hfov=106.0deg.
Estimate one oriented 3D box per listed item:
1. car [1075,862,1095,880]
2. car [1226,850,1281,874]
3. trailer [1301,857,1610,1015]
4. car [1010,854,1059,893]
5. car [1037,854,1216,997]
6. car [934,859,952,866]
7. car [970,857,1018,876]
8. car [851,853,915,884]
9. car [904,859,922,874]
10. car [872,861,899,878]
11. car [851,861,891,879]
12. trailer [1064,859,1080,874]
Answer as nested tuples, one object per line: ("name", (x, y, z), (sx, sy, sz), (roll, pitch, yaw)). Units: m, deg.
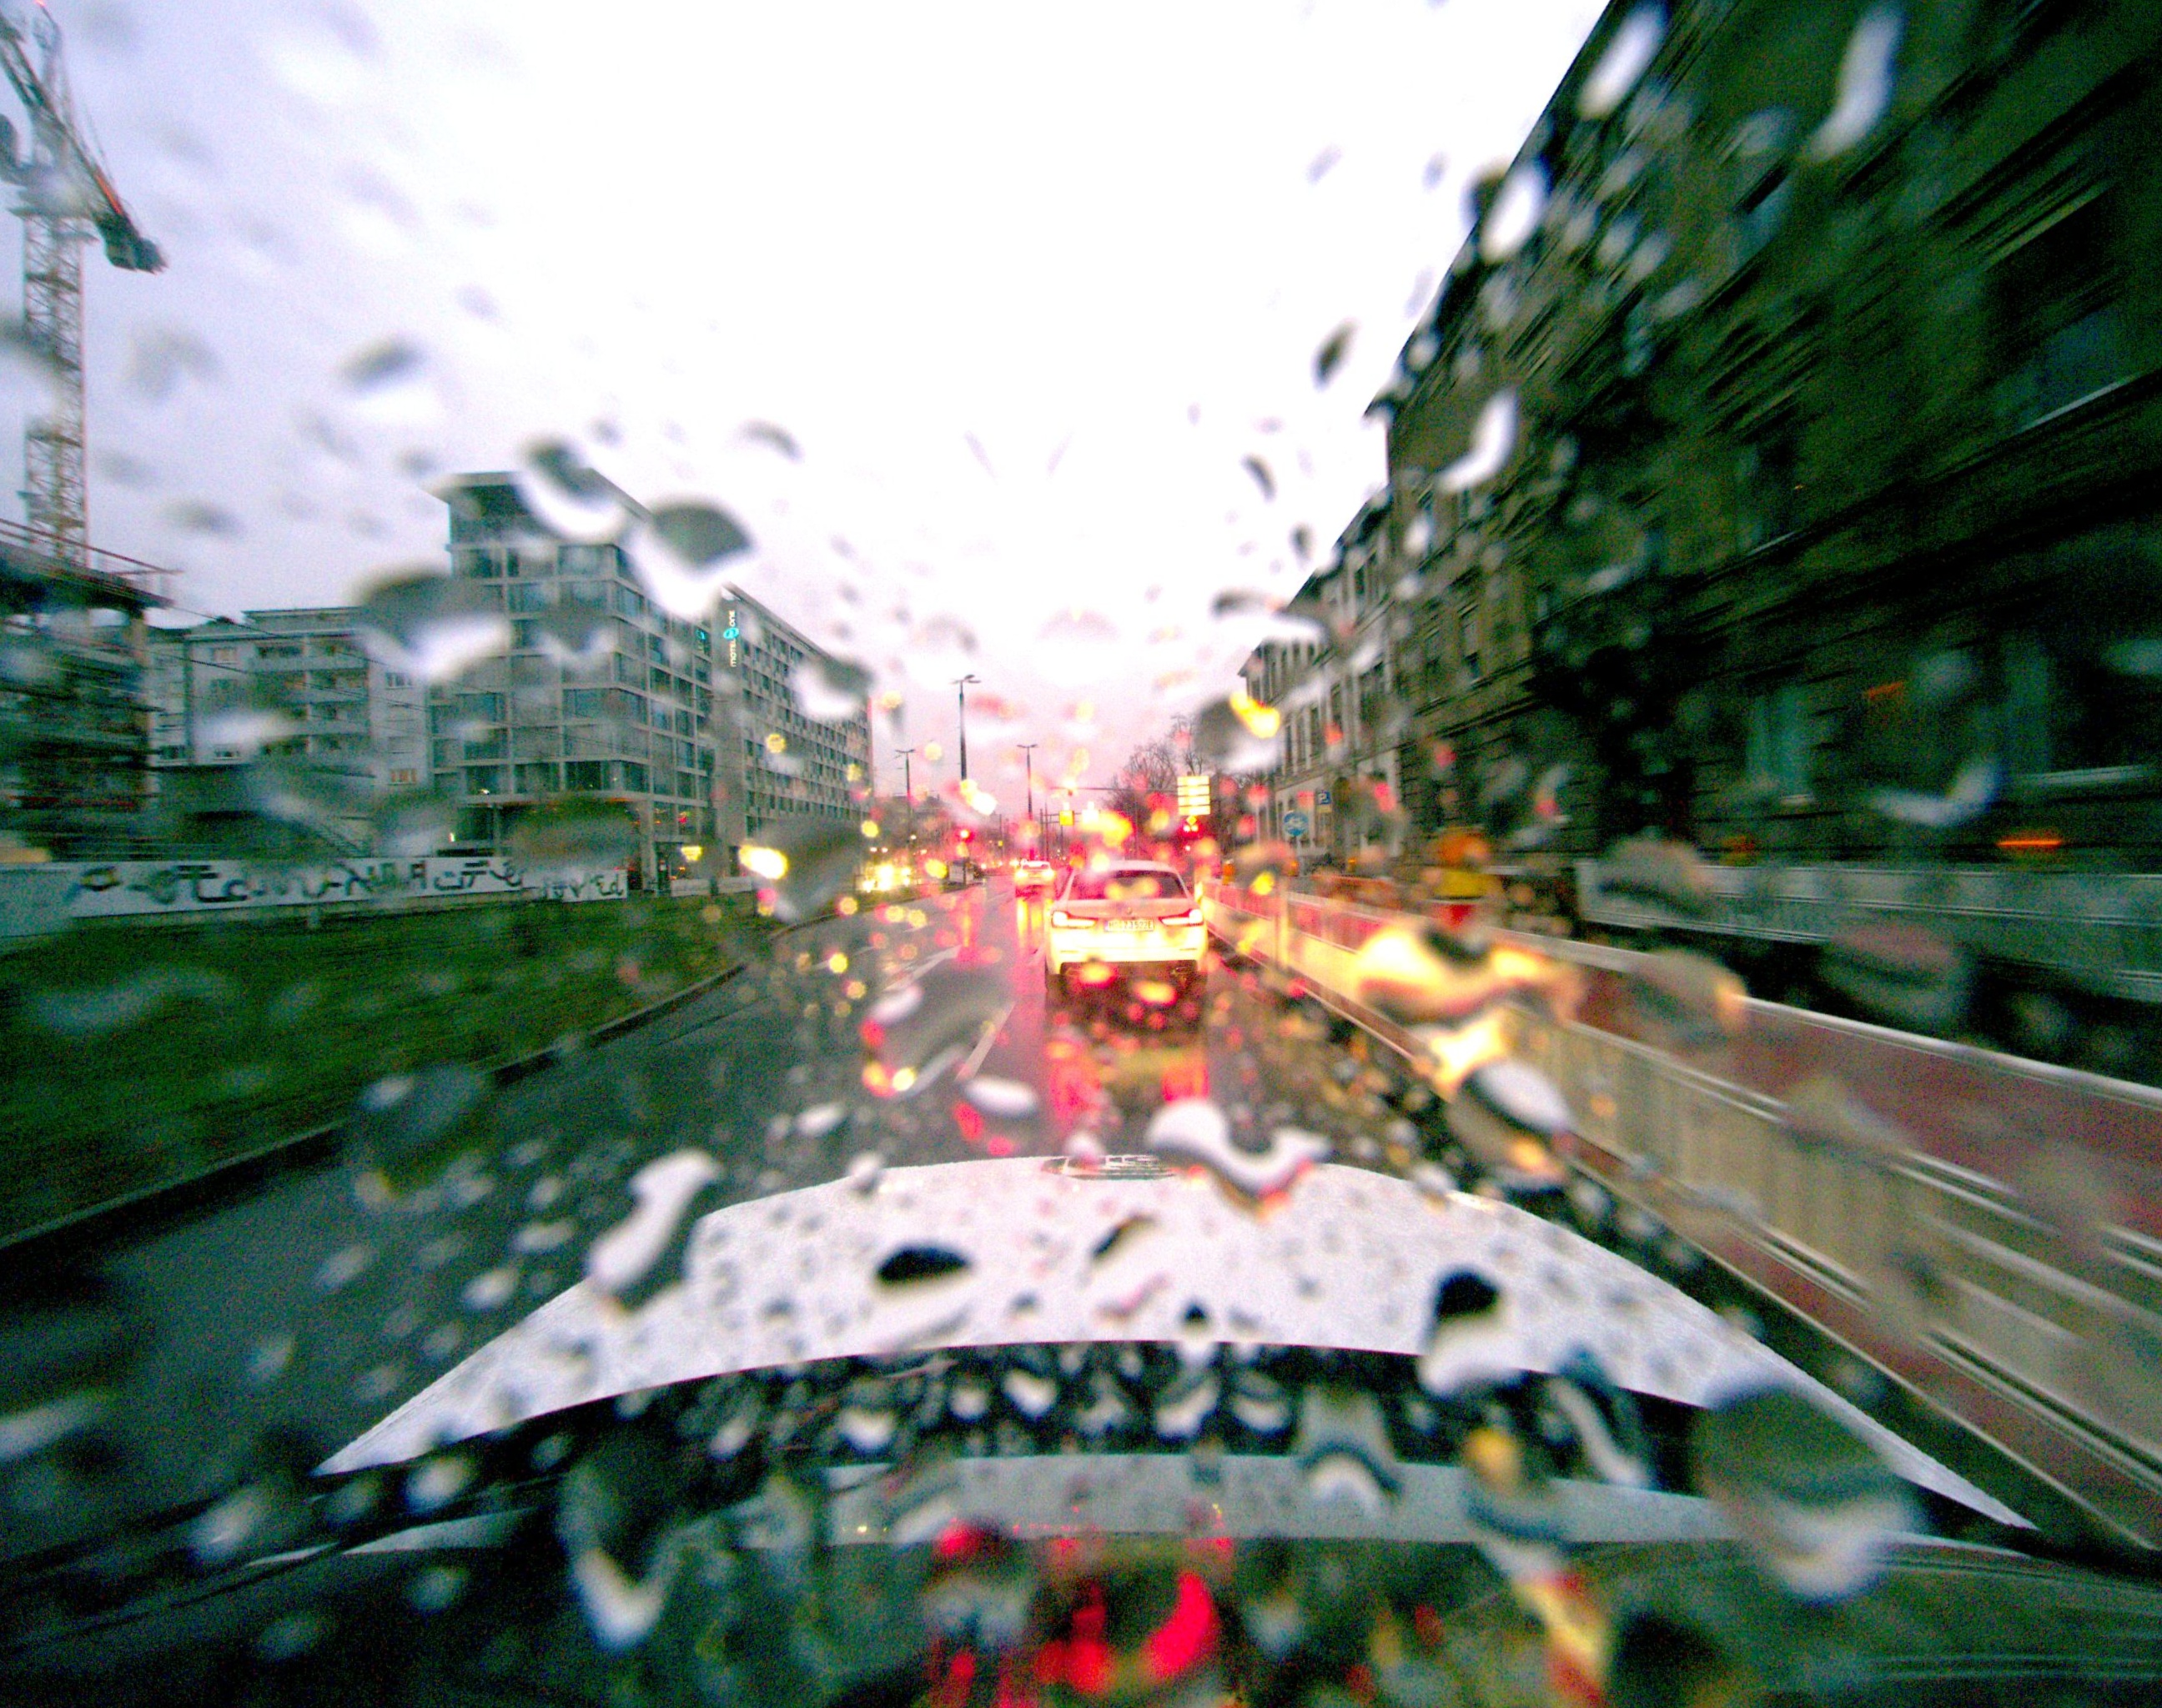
("car", (0.425, 1.625, 79.319), (1.894, 1.642, 4.001), (-1, 0, 1))
("car", (13.575, 0.621, 64.077), (3.954, 1.797, 1.860), (-1, 0, 20))
("trailer", (3.830, 0.741, 9.059), (1.844, 1.346, 3.529), (-2, 0, 1))
("car", (-2.057, 0.851, 37.054), (1.894, 1.642, 4.001), (-1, 0, 1))
("car", (0.506, 0.753, 10.952), (1.845, 1.465, 4.947), (-1, 0, 1))
("car", (-32.962, 2.005, 194.470), (4.207, 1.745, 1.836), (-1, 0, -6))
("car", (-7.486, 1.076, 69.891), (3.942, 1.507, 1.847), (-1, 0, -10))
("car", (-13.215, 0.944, 54.282), (3.997, 1.975, 1.988), (-1, 0, -18))
("car", (-19.047, 1.417, 92.635), (1.557, 1.659, 3.390), (-1, 0, -4))
("car", (-19.361, 1.496, 80.769), (1.854, 1.640, 4.027), (-1, 0, -3))
("car", (-18.265, 1.374, 70.786), (3.498, 1.492, 1.755), (-1, 0, 45))
("trailer", (-1.060, 1.448, 96.751), (1.829, 1.643, 3.998), (-1, 0, -1))
